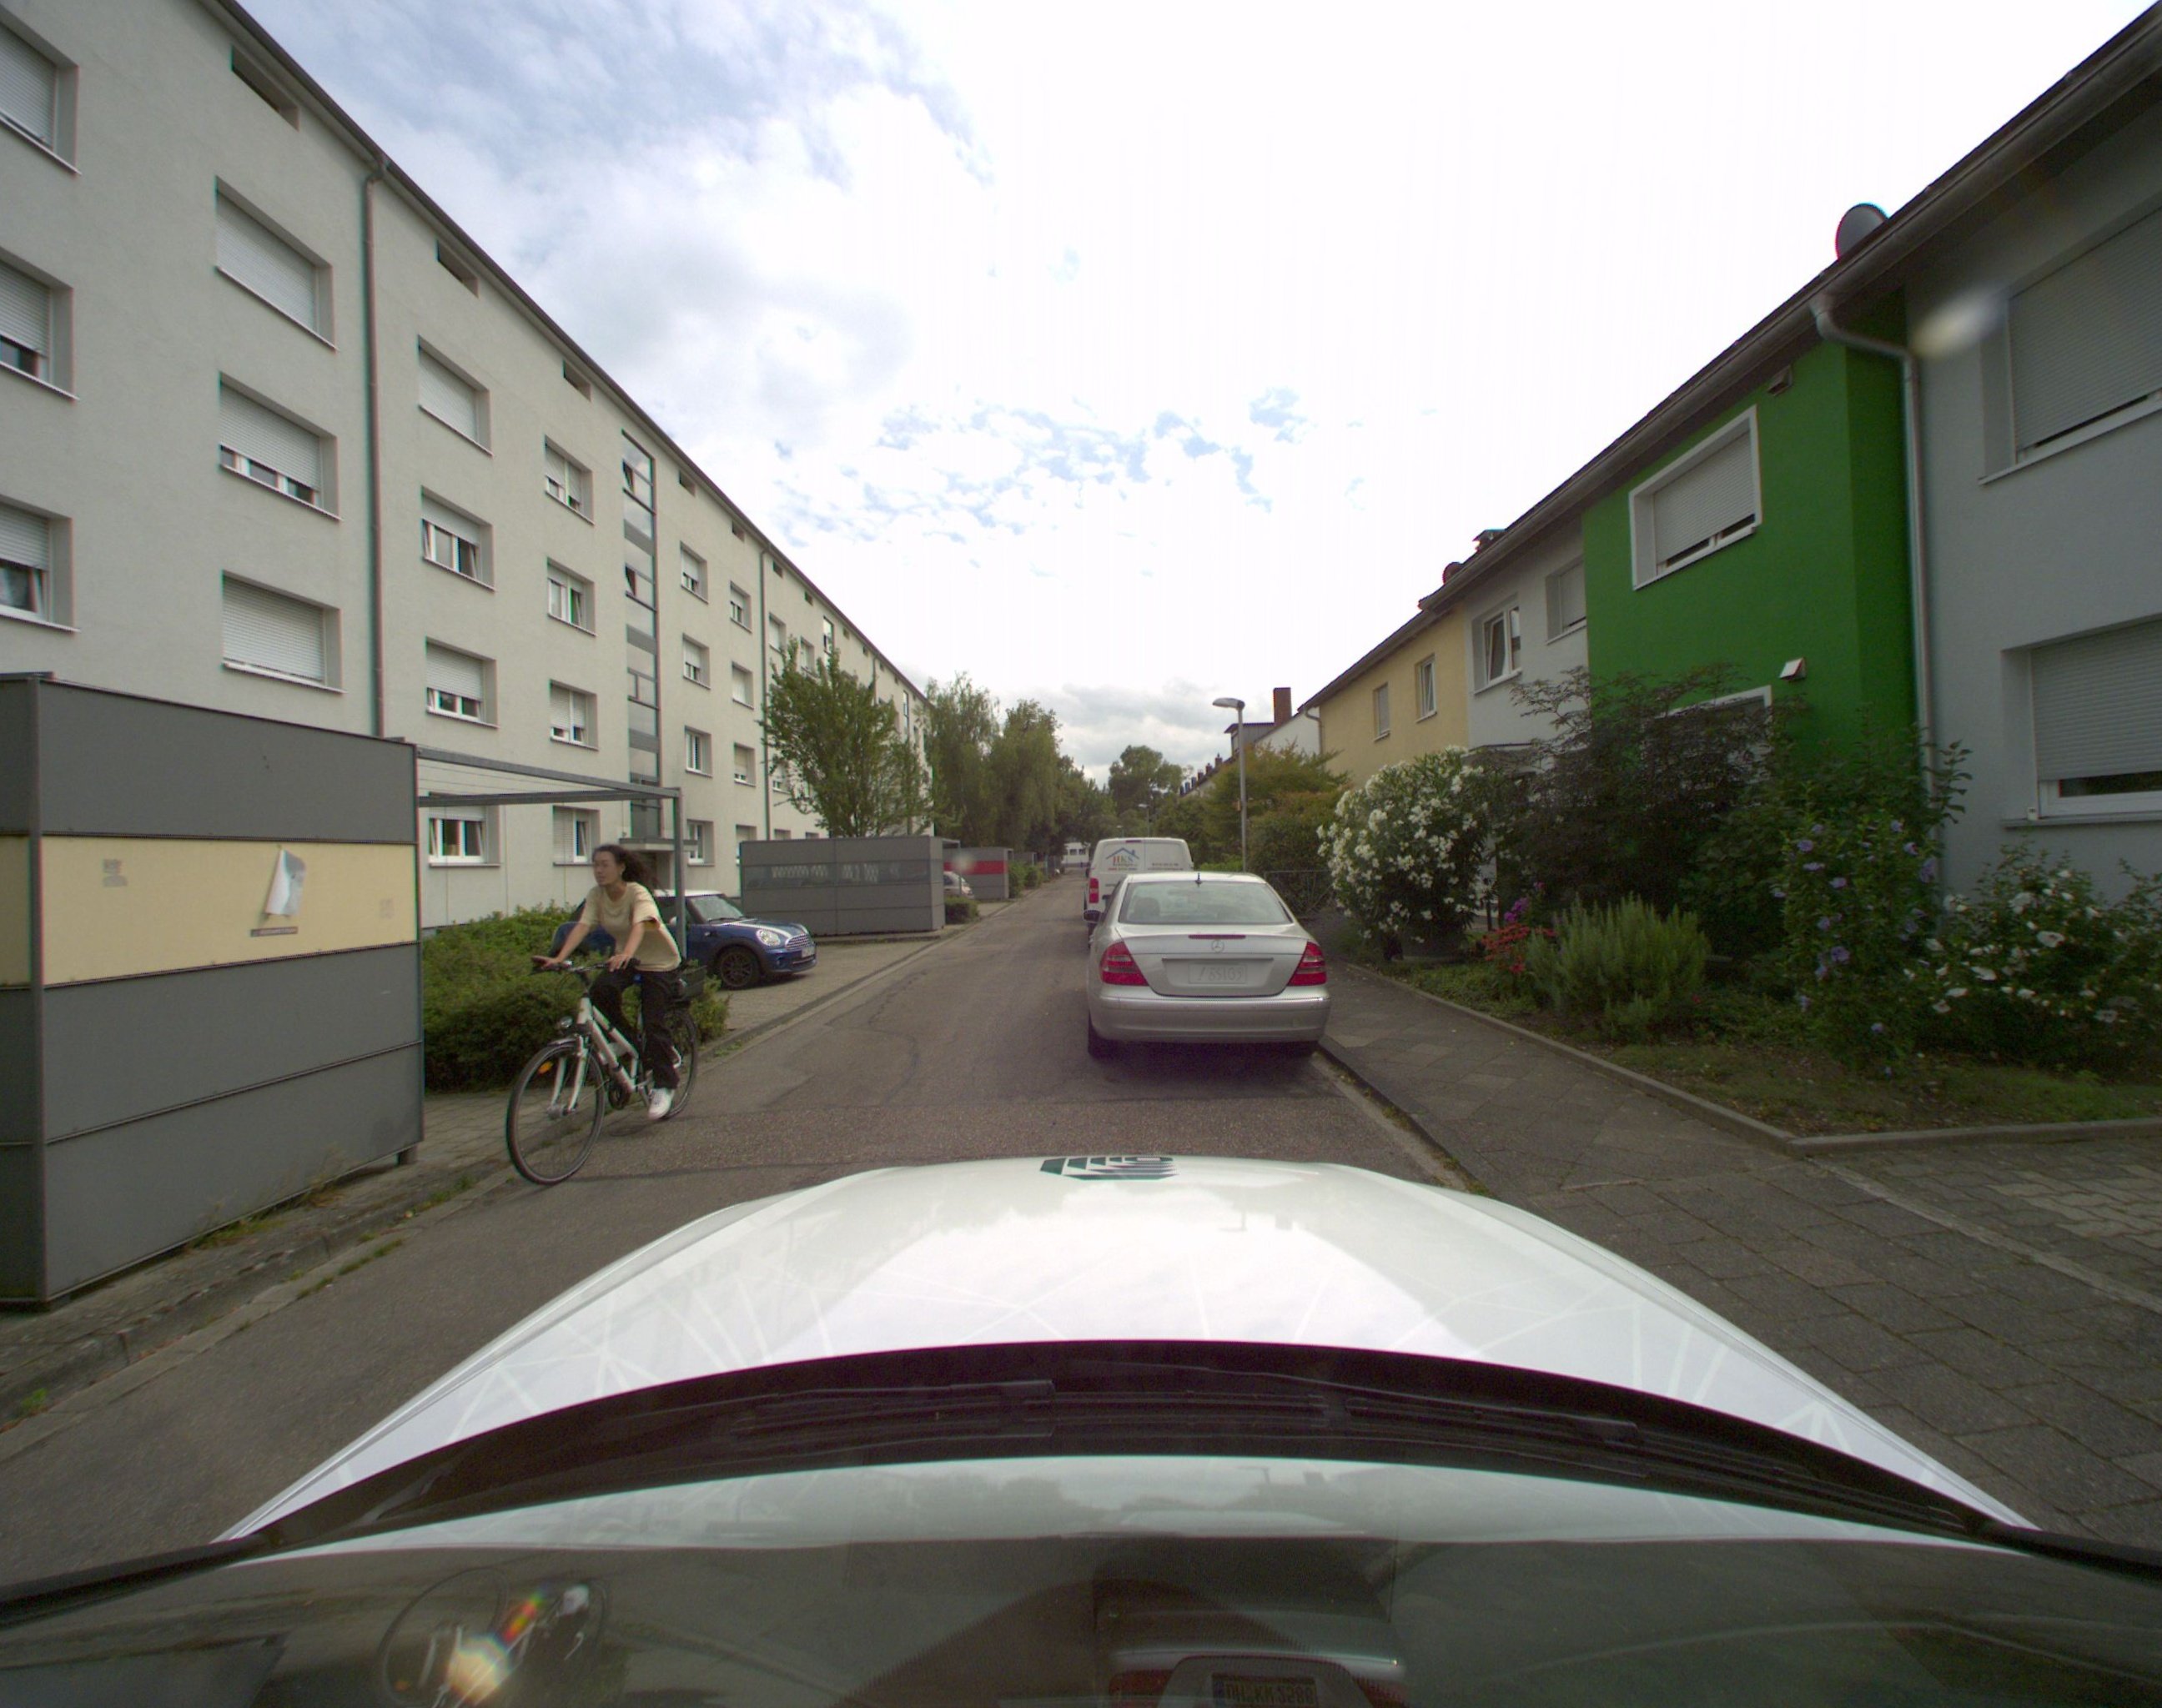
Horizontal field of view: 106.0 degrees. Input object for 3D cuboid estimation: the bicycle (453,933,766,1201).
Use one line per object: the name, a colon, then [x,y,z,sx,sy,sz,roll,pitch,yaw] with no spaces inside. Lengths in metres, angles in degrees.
bicycle: [-2.663,1.120,4.935,0.595,1.076,2.043,-3,-1,2]

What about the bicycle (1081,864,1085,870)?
bicycle: [0.334,2.455,150.628,0.686,1.131,2.581,0,-1,3]

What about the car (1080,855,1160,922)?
car: [0.954,0.881,22.251,1.820,1.636,4.158,-1,-1,-2]

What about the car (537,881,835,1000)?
car: [-5.824,1.242,12.266,3.619,1.461,1.654,-3,-1,3]

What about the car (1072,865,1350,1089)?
car: [0.925,0.831,7.513,1.776,1.421,4.457,-1,-1,2]

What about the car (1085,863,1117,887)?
car: [1.208,1.254,48.984,1.818,1.370,4.331,0,0,1]

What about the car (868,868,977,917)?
car: [-5.587,1.351,29.128,3.555,1.480,1.708,-3,-1,-4]

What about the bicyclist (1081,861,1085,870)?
bicyclist: [0.335,2.127,150.791,0.795,1.511,0.934,0,-1,2]

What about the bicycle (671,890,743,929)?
bicycle: [-10.863,1.599,23.693,1.820,1.024,0.473,-2,-1,-41]

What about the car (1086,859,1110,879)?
car: [1.401,1.253,67.964,1.819,1.581,3.998,0,0,-1]

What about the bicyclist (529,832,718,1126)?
bicyclist: [-2.691,0.689,4.862,0.595,1.581,0.767,-3,-1,2]

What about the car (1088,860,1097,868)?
car: [2.345,2.046,165.505,1.818,1.581,4.001,0,0,1]

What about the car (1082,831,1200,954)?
car: [0.979,0.649,15.880,1.897,1.964,5.252,-1,-1,0]
